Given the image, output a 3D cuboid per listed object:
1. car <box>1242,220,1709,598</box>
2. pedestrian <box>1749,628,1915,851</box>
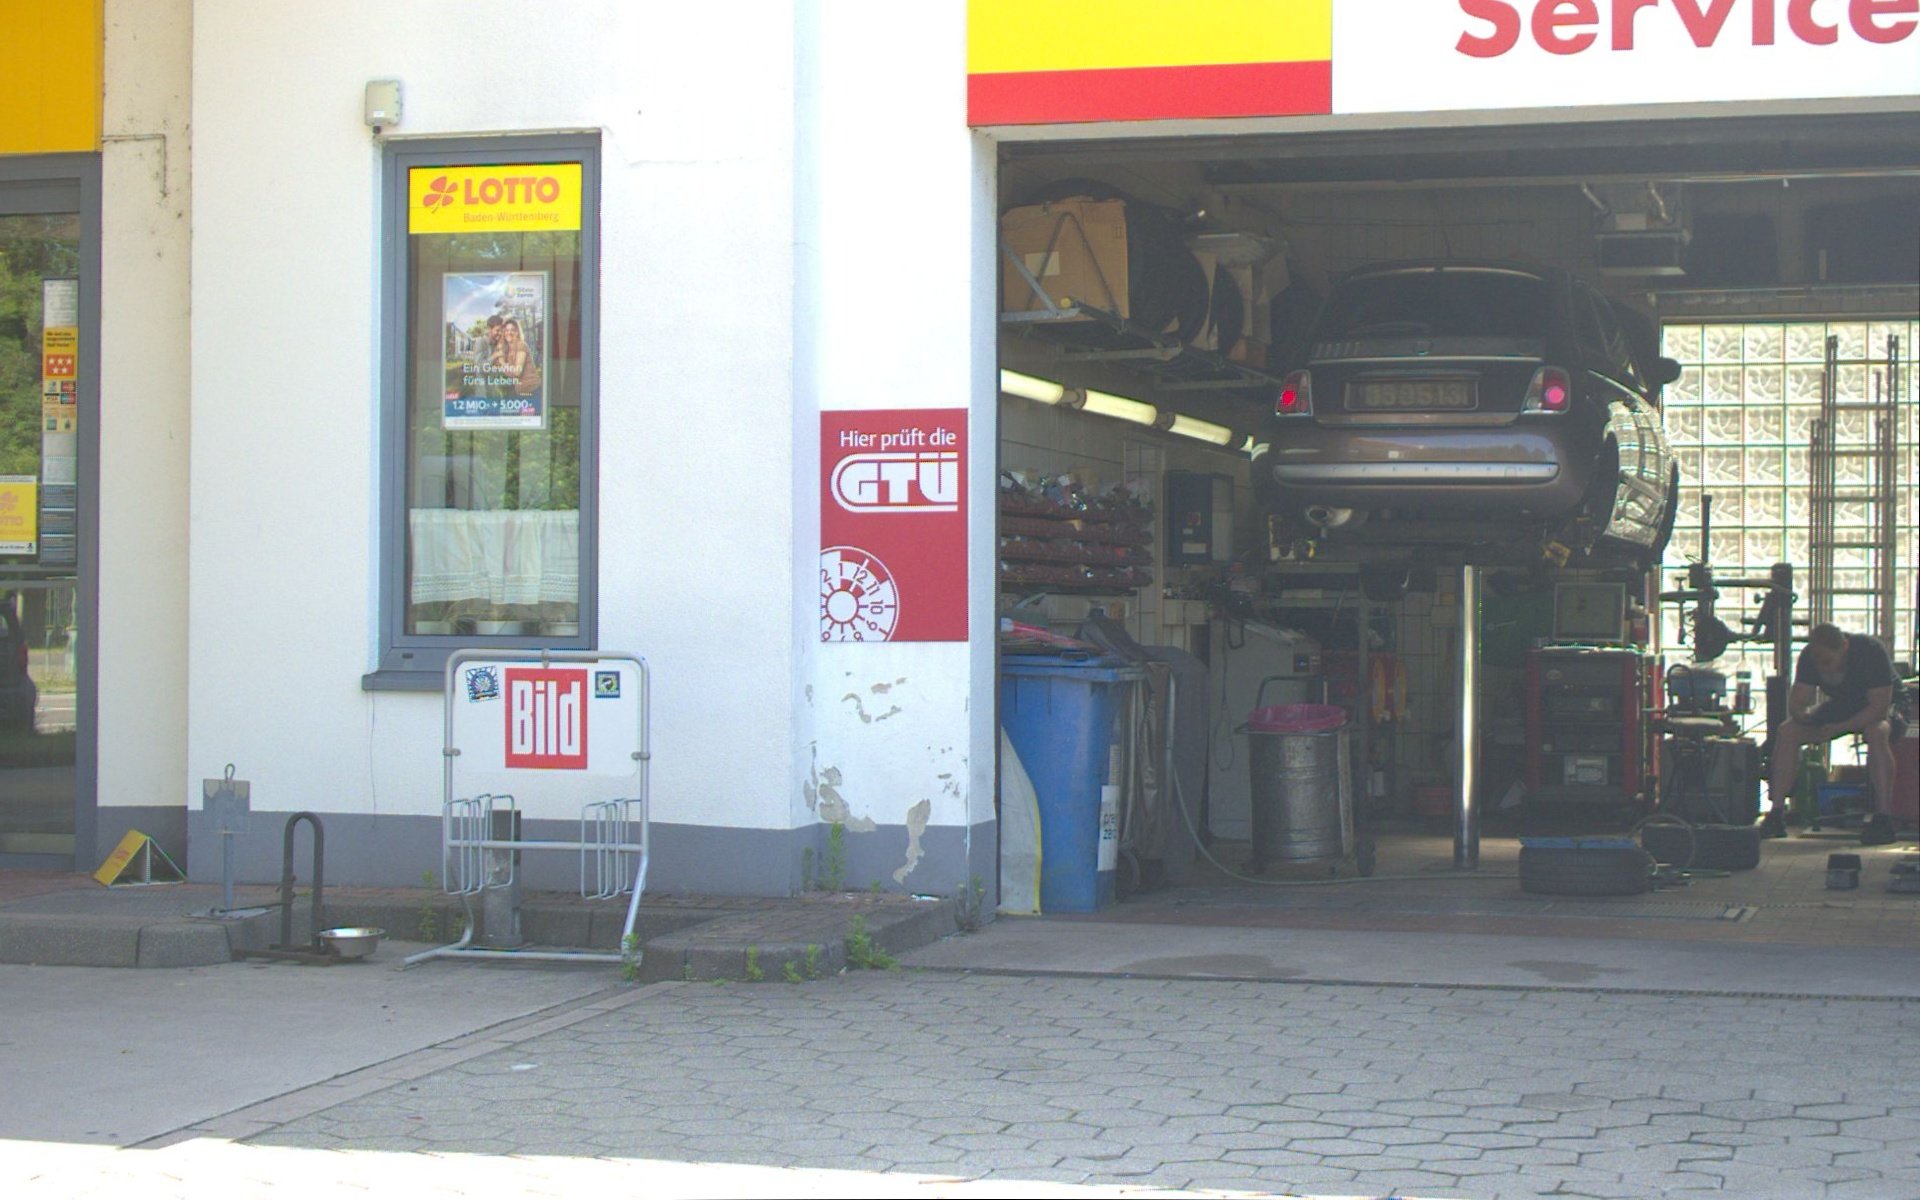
[{"bbox_3d":[2.663,-0.830,17.003,1.648,1.481,3.996,0,-2,18],"label":"car"},{"bbox_3d":[4.800,0.761,18.916,0.864,1.194,0.742,0,-2,15],"label":"pedestrian"}]
